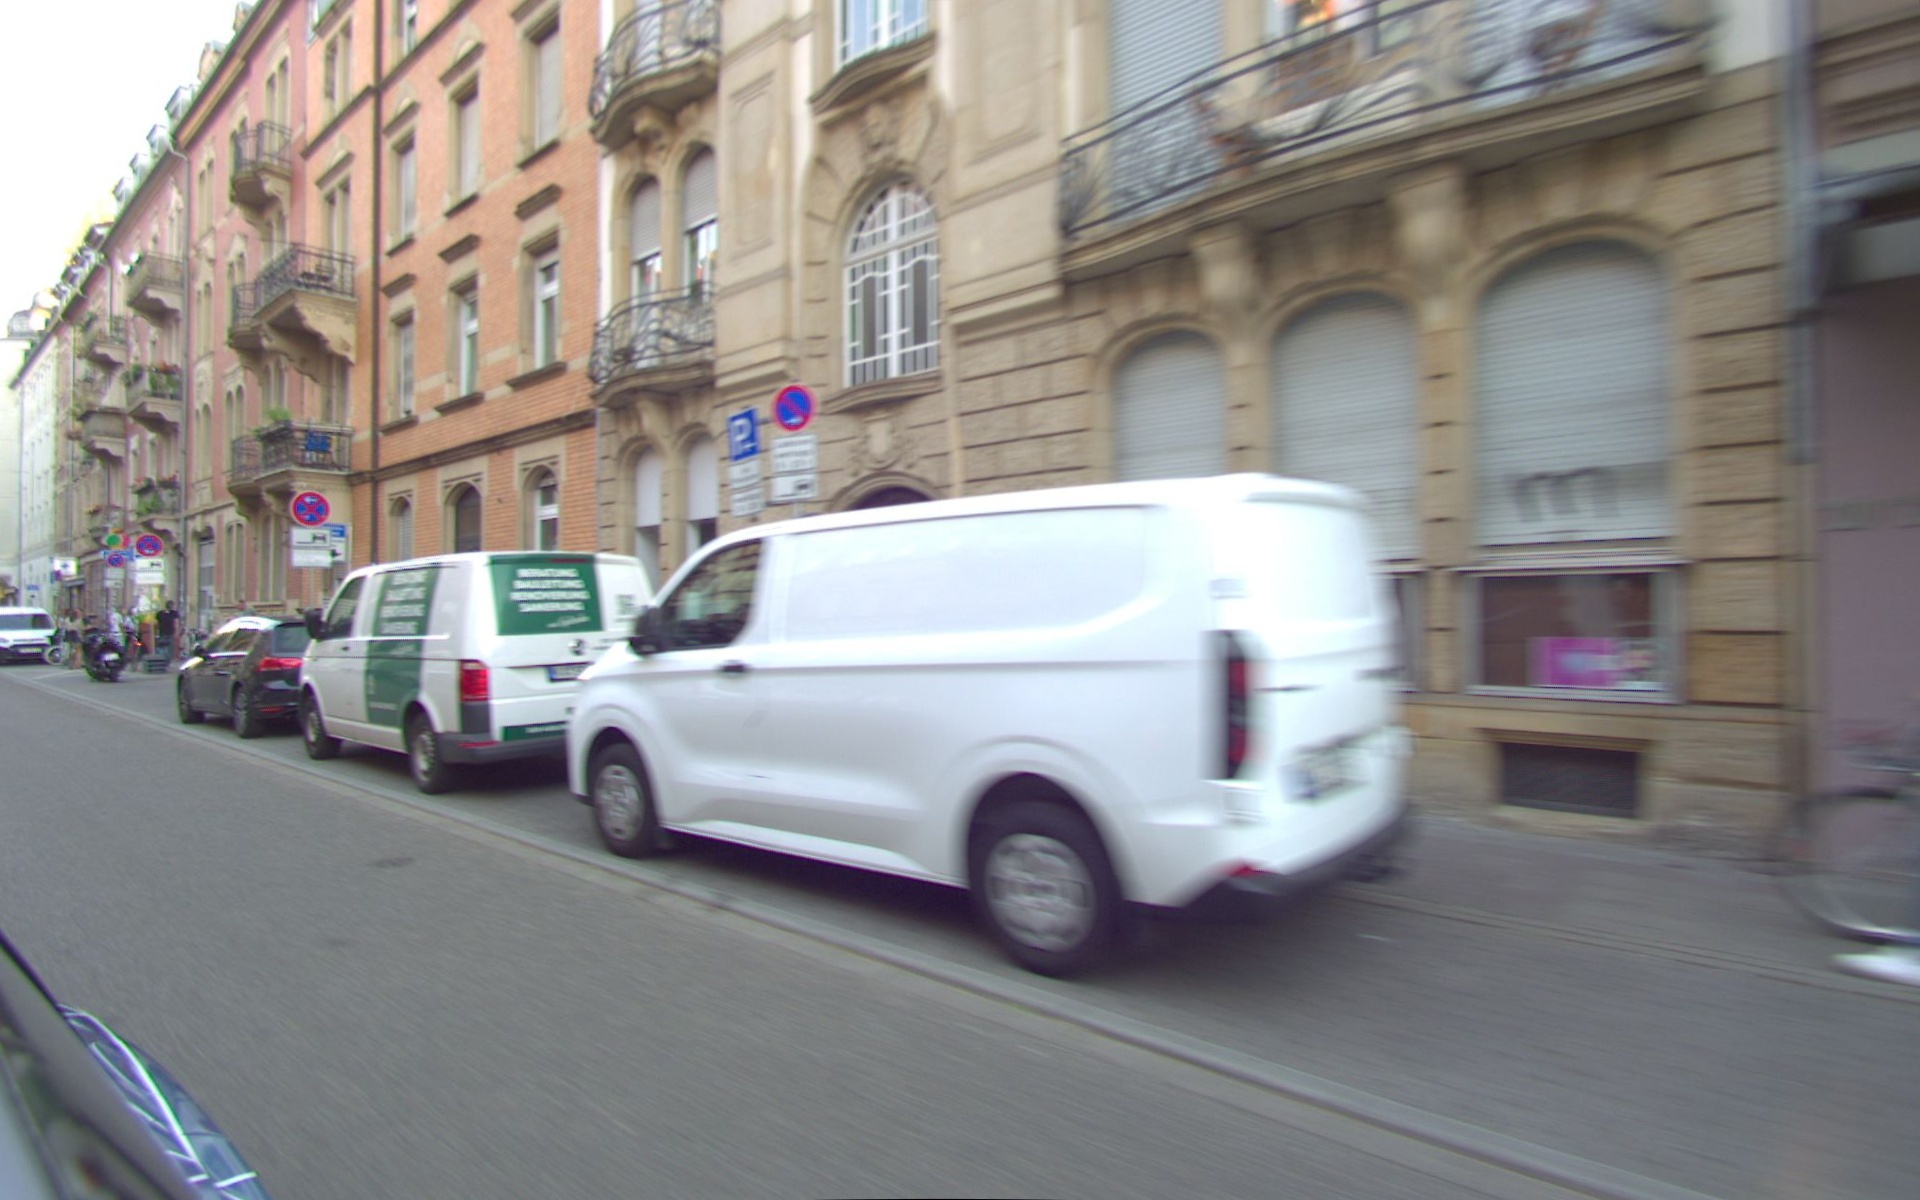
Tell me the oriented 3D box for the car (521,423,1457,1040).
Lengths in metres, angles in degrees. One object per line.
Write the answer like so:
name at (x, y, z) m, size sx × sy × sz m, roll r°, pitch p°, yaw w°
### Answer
car at (-0.236, 0.457, 5.627) m, size 5.022 × 1.936 × 2.087 m, roll -1°, pitch -1°, yaw 41°

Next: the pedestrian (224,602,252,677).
pedestrian at (-17.758, 0.952, 24.882) m, size 0.458 × 1.803 × 0.642 m, roll -1°, pitch 0°, yaw -45°

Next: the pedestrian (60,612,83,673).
pedestrian at (-25.398, 1.206, 28.938) m, size 0.350 × 1.722 × 0.414 m, roll -1°, pitch 0°, yaw 37°

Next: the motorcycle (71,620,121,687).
motorcycle at (-19.280, 1.159, 22.568) m, size 2.015 × 1.415 × 0.677 m, roll -1°, pitch 0°, yaw 45°

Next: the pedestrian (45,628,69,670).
pedestrian at (-27.730, 1.500, 31.083) m, size 0.652 × 1.260 × 0.473 m, roll -1°, pitch 0°, yaw 42°

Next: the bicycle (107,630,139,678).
bicycle at (-21.889, 1.392, 26.458) m, size 1.838 × 1.168 × 0.407 m, roll -1°, pitch 0°, yaw 43°

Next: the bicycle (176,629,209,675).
bicycle at (-20.689, 1.373, 27.268) m, size 1.838 × 1.168 × 0.407 m, roll -1°, pitch 0°, yaw 43°

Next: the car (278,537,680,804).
car at (-4.783, 0.556, 9.655) m, size 4.845 × 1.936 × 1.817 m, roll -1°, pitch -1°, yaw 43°

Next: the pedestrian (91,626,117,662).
pedestrian at (-30.421, 1.551, 35.974) m, size 0.585 × 1.261 × 0.612 m, roll -1°, pitch 0°, yaw 40°

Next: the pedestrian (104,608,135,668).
pedestrian at (-26.198, 1.169, 31.553) m, size 0.589 × 1.827 × 0.723 m, roll -1°, pitch 0°, yaw -30°

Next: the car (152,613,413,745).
car at (-9.111, 0.939, 13.488) m, size 4.169 × 1.482 × 1.818 m, roll -1°, pitch -1°, yaw 40°

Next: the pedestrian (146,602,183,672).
pedestrian at (-21.437, 0.977, 27.256) m, size 0.674 × 1.824 × 0.962 m, roll -1°, pitch 0°, yaw -44°

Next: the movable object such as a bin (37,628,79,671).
movable object such as a bin at (-27.679, 1.499, 31.045) m, size 0.776 × 1.260 × 0.878 m, roll -1°, pitch 0°, yaw 42°

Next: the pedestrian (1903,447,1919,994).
pedestrian at (3.733, 0.399, 3.249) m, size 0.530 × 1.837 × 0.997 m, roll -1°, pitch 0°, yaw -44°

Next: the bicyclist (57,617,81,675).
bicyclist at (-25.077, 1.285, 28.480) m, size 0.460 × 1.602 × 0.487 m, roll -1°, pitch 0°, yaw -45°

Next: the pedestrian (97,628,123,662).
pedestrian at (-29.771, 1.578, 35.447) m, size 0.572 × 1.148 × 0.625 m, roll -1°, pitch 0°, yaw 40°

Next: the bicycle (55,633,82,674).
bicycle at (-24.957, 1.488, 28.322) m, size 0.460 × 1.076 × 1.521 m, roll -1°, pitch 0°, yaw -45°

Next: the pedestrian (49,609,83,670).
pedestrian at (-27.103, 1.184, 30.681) m, size 0.718 × 1.827 × 0.593 m, roll -1°, pitch 0°, yaw 33°

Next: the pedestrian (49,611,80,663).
pedestrian at (-30.744, 1.270, 34.758) m, size 0.610 × 1.743 × 0.587 m, roll -1°, pitch 0°, yaw -20°

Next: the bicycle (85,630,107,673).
bicycle at (-25.049, 1.476, 29.325) m, size 0.460 × 1.164 × 2.003 m, roll -1°, pitch 0°, yaw -41°

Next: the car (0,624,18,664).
car at (-40.937, 1.839, 42.406) m, size 3.970 × 1.608 × 1.906 m, roll -2°, pitch -1°, yaw 44°

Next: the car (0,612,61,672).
car at (-30.297, 1.293, 32.331) m, size 4.584 × 1.802 × 1.752 m, roll -1°, pitch 0°, yaw 40°

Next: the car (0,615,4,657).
car at (-44.963, 1.644, 45.879) m, size 4.903 × 1.897 × 1.907 m, roll -2°, pitch -1°, yaw 41°

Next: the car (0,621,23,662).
car at (-37.677, 1.619, 39.293) m, size 3.793 × 1.541 × 1.686 m, roll -2°, pitch -1°, yaw 44°

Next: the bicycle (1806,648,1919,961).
bicycle at (4.182, 0.781, 3.578) m, size 0.466 × 1.151 × 1.786 m, roll -1°, pitch 0°, yaw -44°
